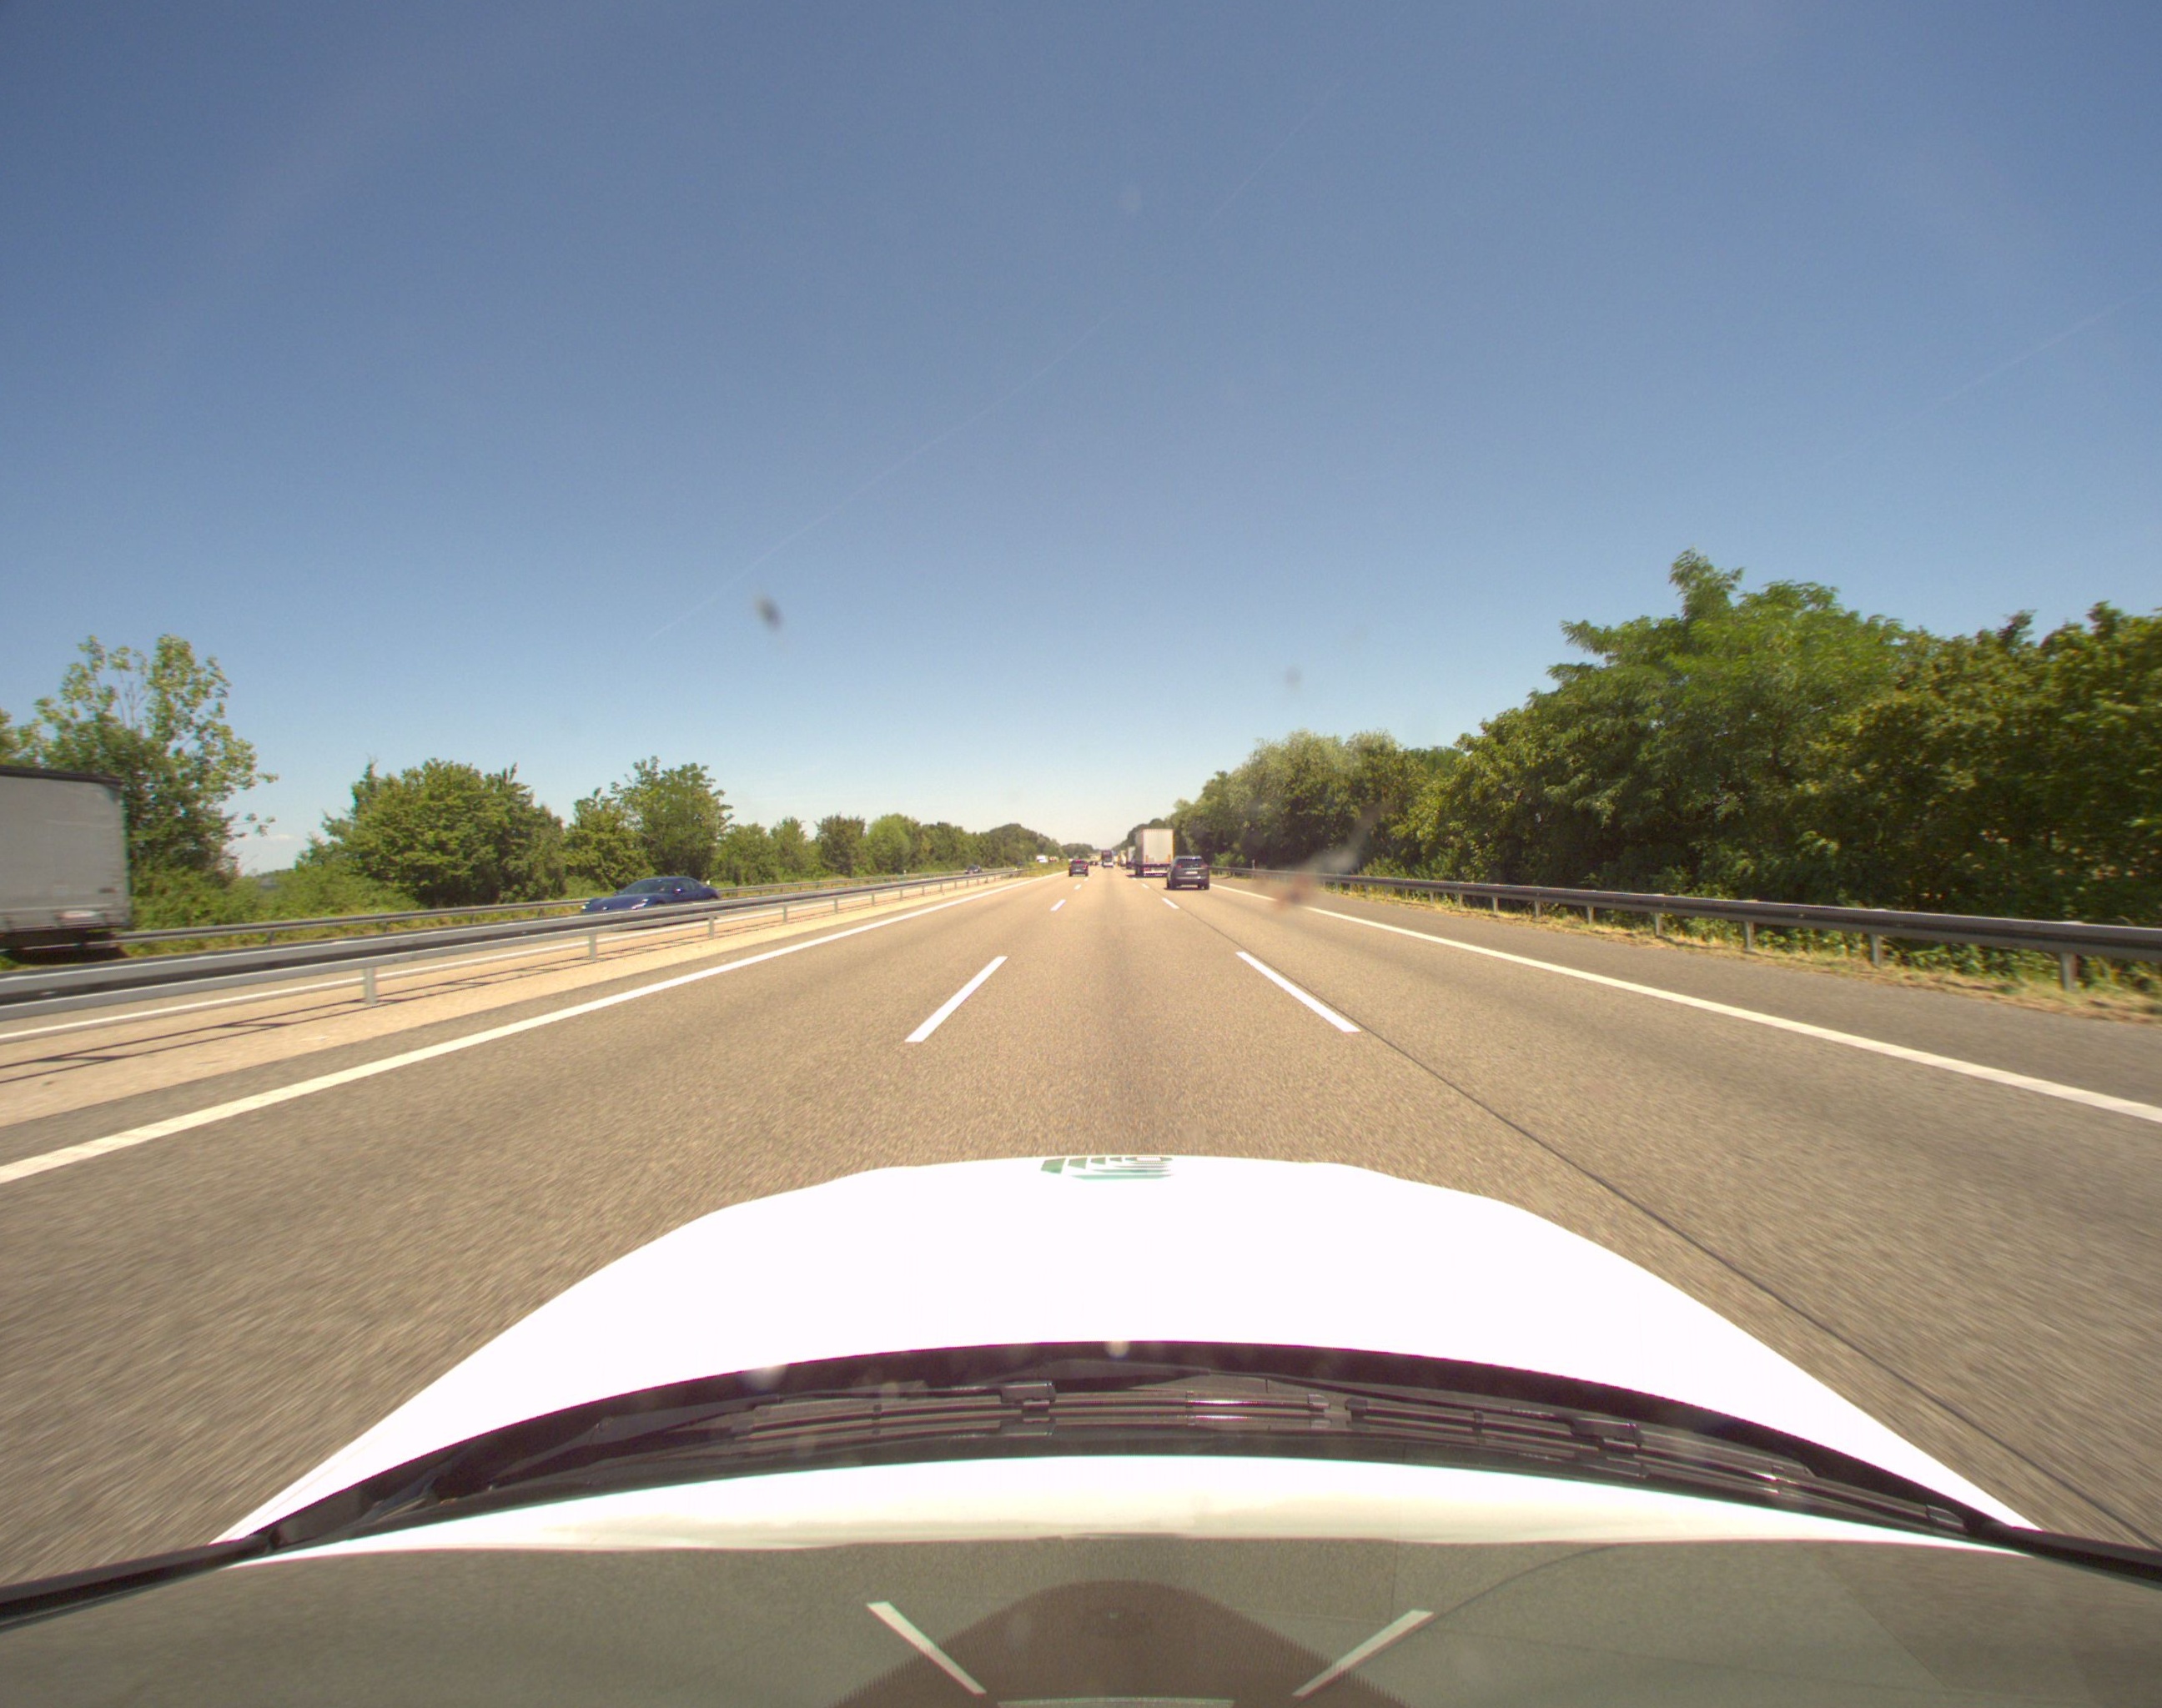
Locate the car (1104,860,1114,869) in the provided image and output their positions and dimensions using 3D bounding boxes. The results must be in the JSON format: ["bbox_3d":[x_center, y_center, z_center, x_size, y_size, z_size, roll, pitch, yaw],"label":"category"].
[{"bbox_3d":[5.229,1.919,151.060,1.893,1.531,4.086,0,0,2],"label":"car"}]

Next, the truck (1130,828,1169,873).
[{"bbox_3d":[6.631,-0.239,79.457,3.451,4.177,6.846,0,-1,2],"label":"truck"}]

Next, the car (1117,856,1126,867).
[{"bbox_3d":[8.672,1.561,174.142,1.900,2.425,4.287,0,0,2],"label":"car"}]

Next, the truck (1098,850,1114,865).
[{"bbox_3d":[6.314,0.910,204.125,3.652,3.726,7.114,0,0,3],"label":"truck"}]

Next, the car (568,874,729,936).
[{"bbox_3d":[-11.989,1.351,23.019,1.843,1.395,4.743,-4,-1,1],"label":"car"}]

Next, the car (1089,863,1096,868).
[{"bbox_3d":[3.438,3.320,240.651,1.900,1.531,4.287,0,0,2],"label":"car"}]

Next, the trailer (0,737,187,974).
[{"bbox_3d":[-20.766,0.103,10.443,3.285,4.186,13.544,-2,0,1],"label":"trailer"}]

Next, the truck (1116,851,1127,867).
[{"bbox_3d":[9.759,1.222,195.706,2.781,3.726,7.114,0,0,3],"label":"truck"}]

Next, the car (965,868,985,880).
[{"bbox_3d":[-14.093,2.640,108.413,1.856,1.401,4.532,-3,-1,1],"label":"car"}]

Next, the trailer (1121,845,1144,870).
[{"bbox_3d":[8.261,0.568,131.596,3.111,3.926,9.938,0,0,1],"label":"trailer"}]

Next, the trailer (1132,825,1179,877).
[{"bbox_3d":[6.369,-0.178,71.818,3.421,4.181,13.639,0,-1,2],"label":"trailer"}]

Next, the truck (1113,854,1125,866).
[{"bbox_3d":[11.832,1.743,251.791,3.475,3.726,7.114,0,0,3],"label":"truck"}]

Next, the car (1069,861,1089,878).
[{"bbox_3d":[-0.171,1.464,77.275,1.752,1.531,4.287,0,0,2],"label":"car"}]

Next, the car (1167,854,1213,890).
[{"bbox_3d":[5.278,0.854,40.008,1.838,1.629,4.137,-1,0,2],"label":"car"}]

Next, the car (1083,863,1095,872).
[{"bbox_3d":[1.399,2.244,137.645,1.893,1.531,4.086,0,0,2],"label":"car"}]
